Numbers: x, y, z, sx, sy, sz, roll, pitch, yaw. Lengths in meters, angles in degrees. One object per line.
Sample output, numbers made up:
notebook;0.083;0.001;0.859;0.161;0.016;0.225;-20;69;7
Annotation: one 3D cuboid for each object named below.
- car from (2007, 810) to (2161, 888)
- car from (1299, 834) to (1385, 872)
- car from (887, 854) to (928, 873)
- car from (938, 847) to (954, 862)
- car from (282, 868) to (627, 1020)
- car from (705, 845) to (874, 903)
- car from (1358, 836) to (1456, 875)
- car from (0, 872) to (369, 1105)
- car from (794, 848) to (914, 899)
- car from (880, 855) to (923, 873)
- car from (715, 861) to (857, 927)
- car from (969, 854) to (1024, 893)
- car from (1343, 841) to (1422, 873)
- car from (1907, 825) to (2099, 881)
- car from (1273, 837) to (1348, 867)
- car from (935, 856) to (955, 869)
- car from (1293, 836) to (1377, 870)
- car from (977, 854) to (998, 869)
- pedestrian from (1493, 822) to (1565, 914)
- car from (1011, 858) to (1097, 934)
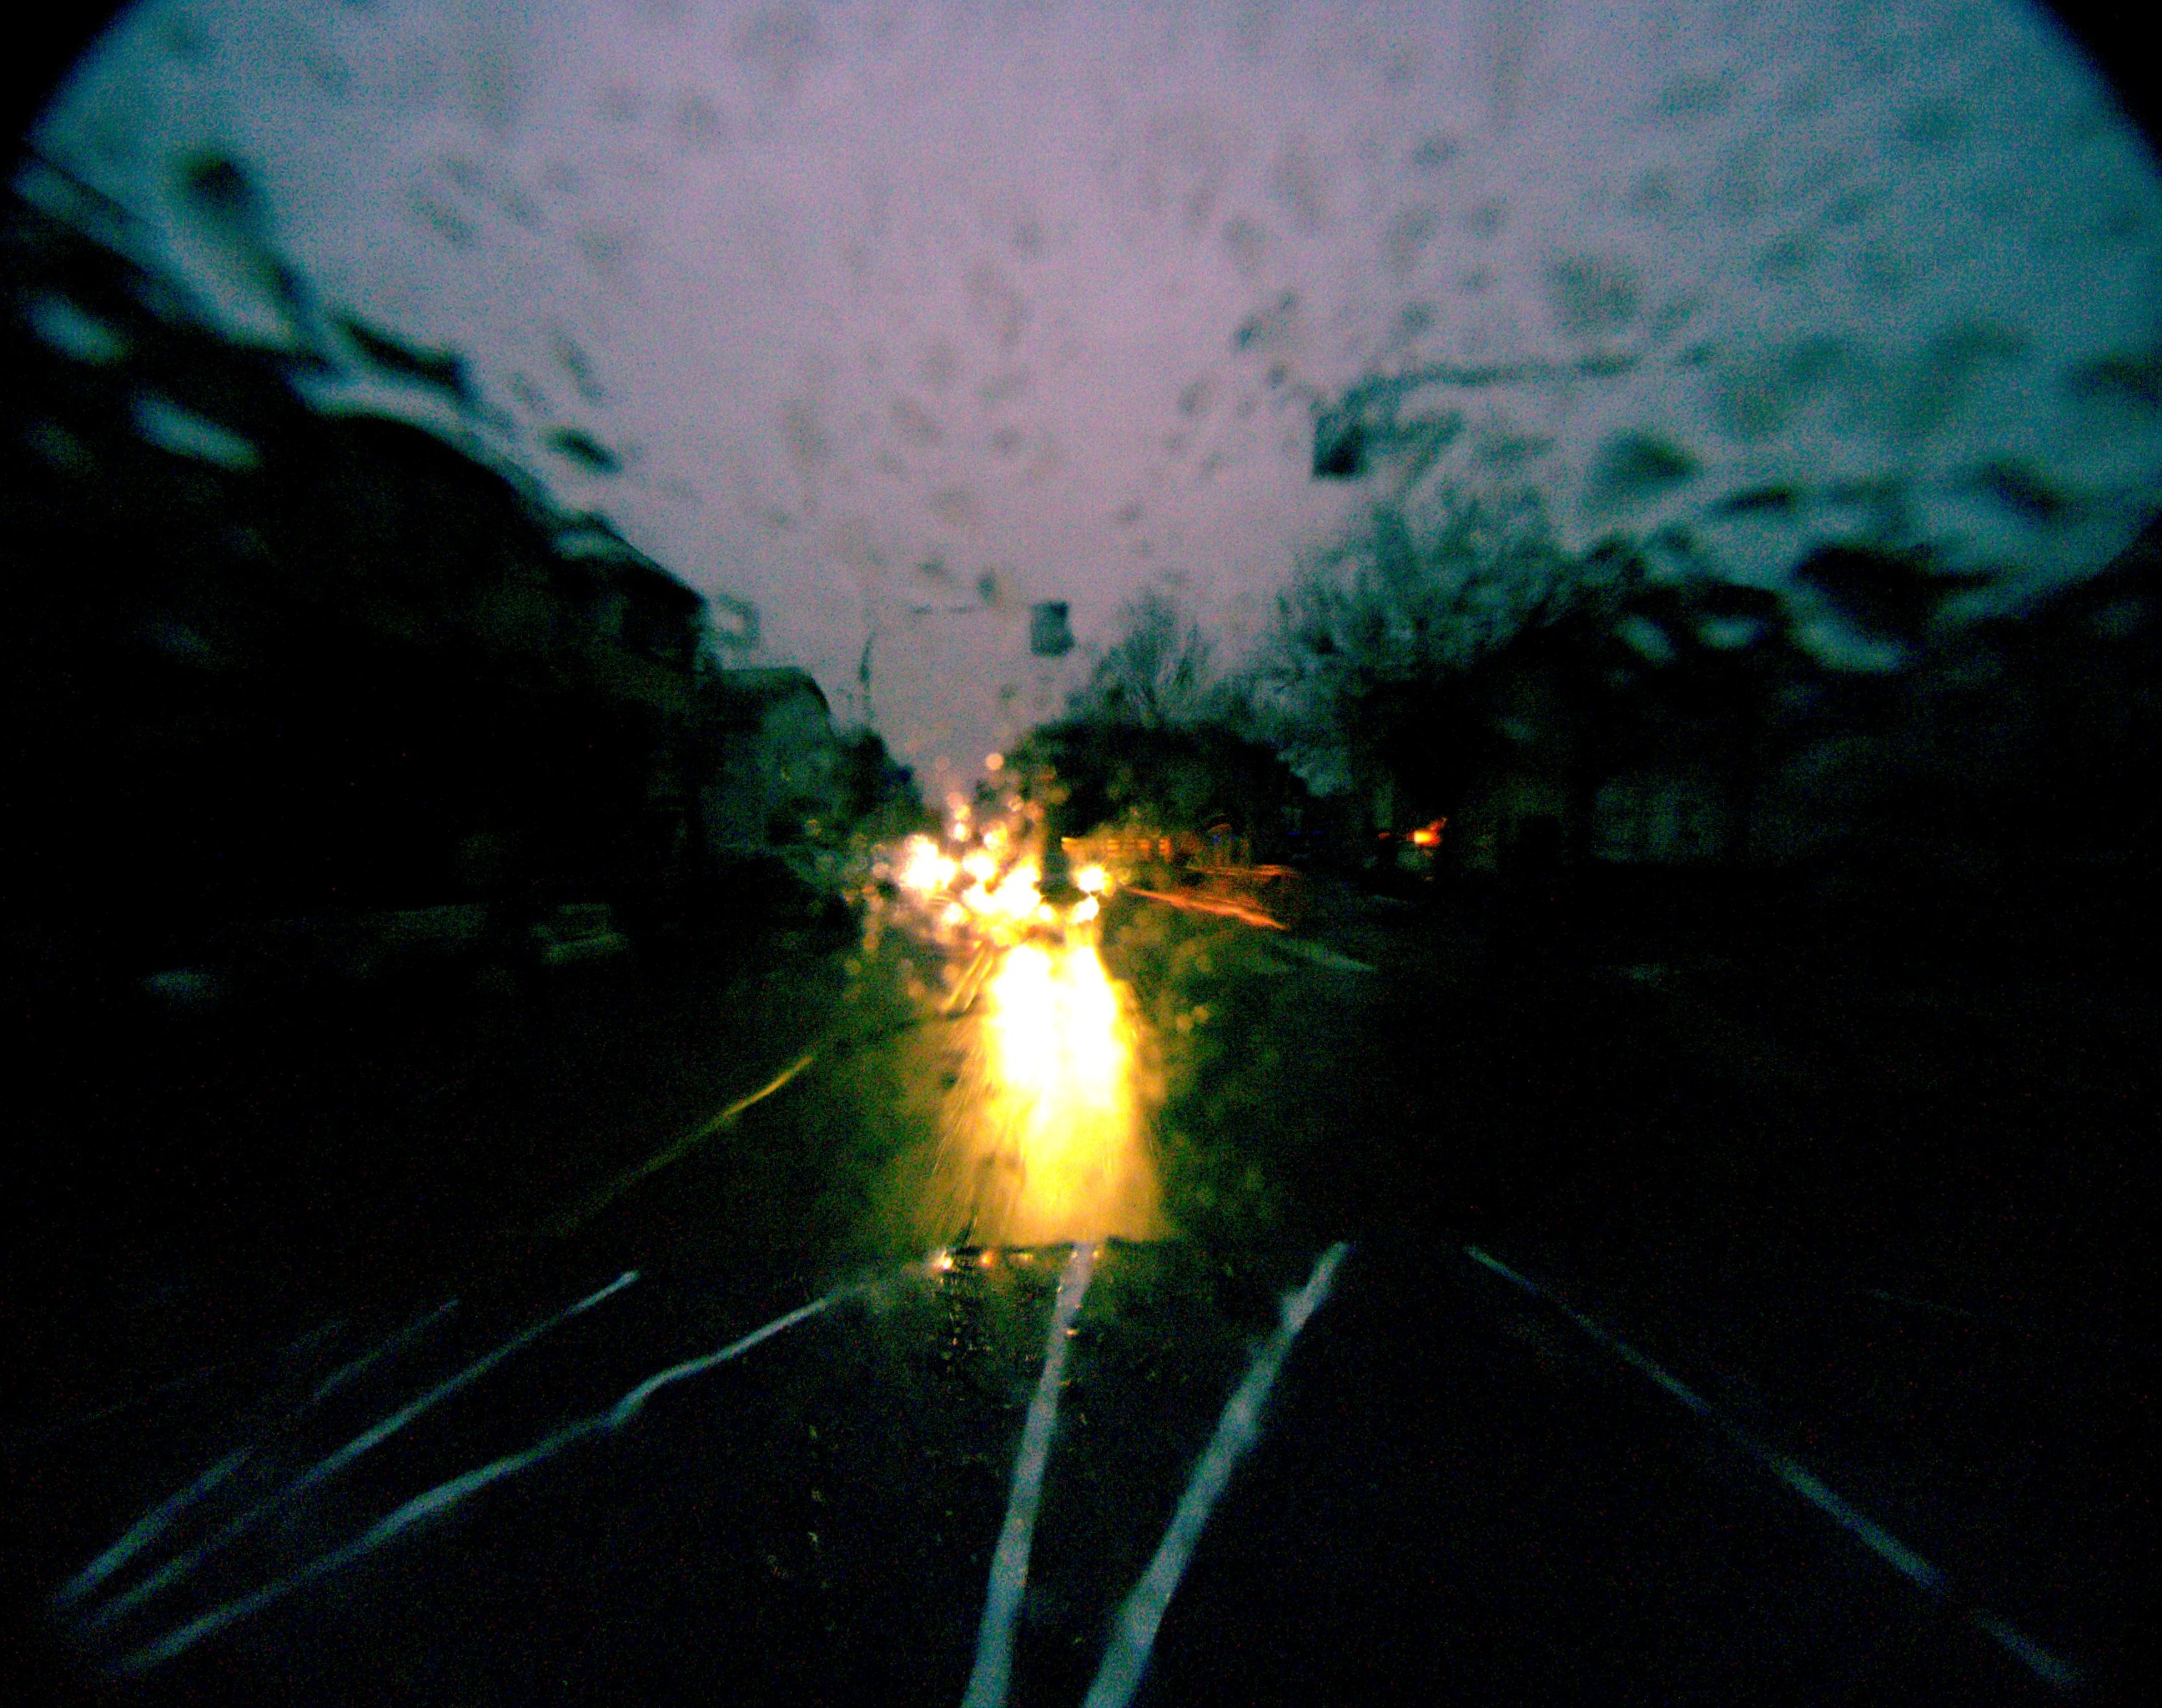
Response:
car;24.723;-0.158;17.901;3.607;1.602;1.713;-4;0;2
car;12.394;-0.036;36.109;3.626;1.603;1.613;-2;1;26
car;-17.688;0.996;77.576;3.894;1.866;1.866;-1;0;-19
car;-19.129;0.056;107.762;1.839;2.002;3.695;-3;0;-15
car;-6.876;0.938;8.560;2.589;1.538;1.551;0;0;-1
car;-9.779;0.656;25.796;4.994;1.878;1.937;0;0;-1
car;13.130;0.060;30.636;3.477;1.401;1.613;-2;1;28
car;-7.651;0.896;5.761;3.072;1.465;1.550;0;1;2
car;-8.485;0.727;28.689;4.054;1.832;1.862;0;1;-5
car;-17.067;0.934;72.175;3.857;1.618;1.609;0;0;-18
car;-6.860;0.908;17.847;2.770;1.465;1.426;0;1;0
car;-3.971;0.869;35.307;1.926;1.608;3.863;-3;0;-15
car;13.207;0.131;33.234;3.048;1.213;1.613;-2;1;26
car;24.763;-0.031;20.493;3.051;1.120;1.529;-6;0;5
car;13.351;-0.126;44.168;3.991;1.623;1.637;-1;0;22
car;-15.752;0.970;87.570;1.903;1.457;3.995;-3;0;-15
car;13.008;-0.068;39.120;3.992;1.623;1.636;-1;0;17
car;-10.523;0.827;85.024;1.901;1.607;3.823;-3;0;-12
pedestrian;8.822;0.277;15.015;0.881;1.725;0.956;-2;0;8
car;-0.536;0.894;17.763;1.731;1.475;3.604;-3;0;1
